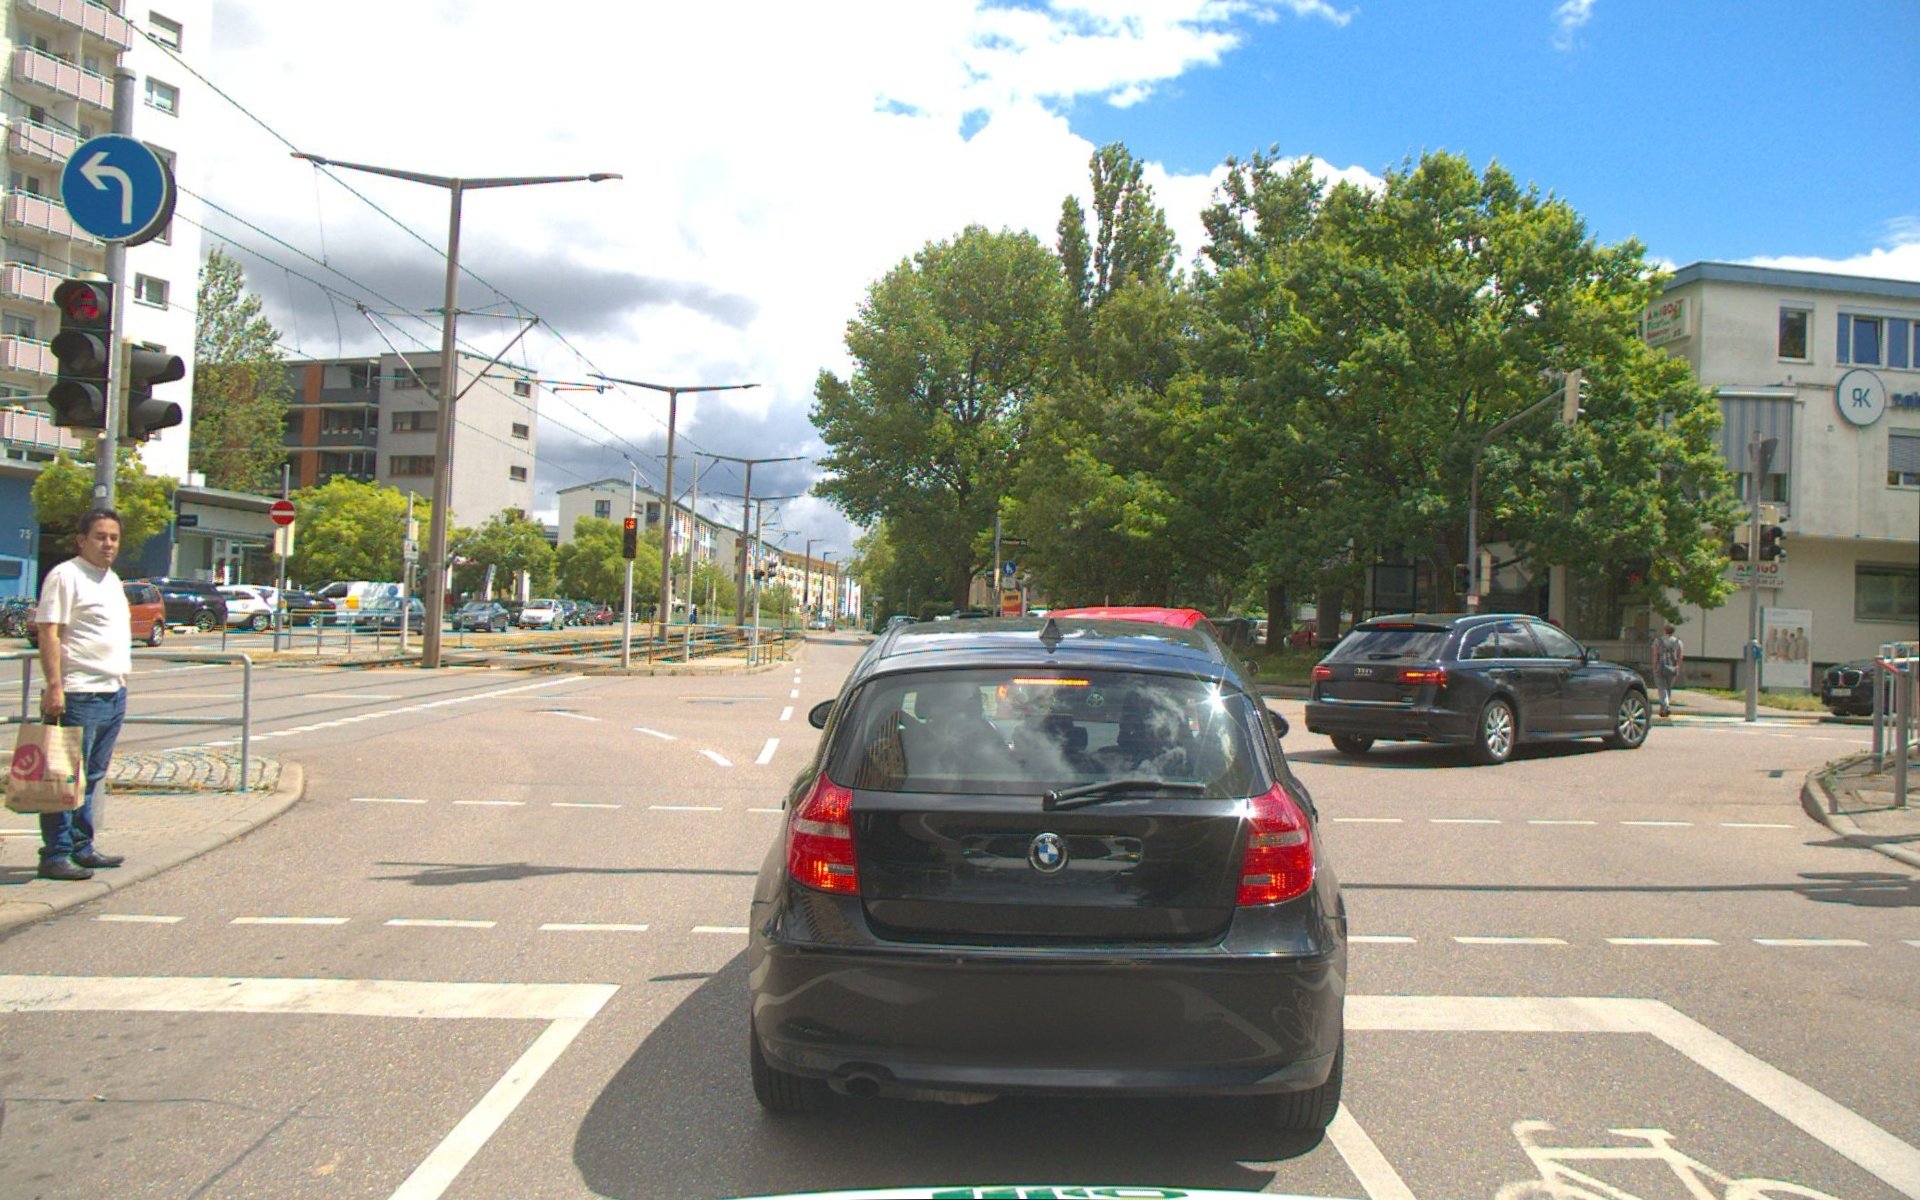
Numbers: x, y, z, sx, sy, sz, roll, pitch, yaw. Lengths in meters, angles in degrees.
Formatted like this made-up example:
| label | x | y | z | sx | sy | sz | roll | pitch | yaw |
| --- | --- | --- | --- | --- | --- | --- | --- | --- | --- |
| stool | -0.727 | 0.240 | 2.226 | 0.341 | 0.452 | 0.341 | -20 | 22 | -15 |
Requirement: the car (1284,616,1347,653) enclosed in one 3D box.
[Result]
| label | x | y | z | sx | sy | sz | roll | pitch | yaw |
| --- | --- | --- | --- | --- | --- | --- | --- | --- | --- |
| car | 17.065 | 1.634 | 79.599 | 1.698 | 1.623 | 3.993 | 1 | 0 | -8 |

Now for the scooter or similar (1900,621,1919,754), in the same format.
| label | x | y | z | sx | sy | sz | roll | pitch | yaw |
| --- | --- | --- | --- | --- | --- | --- | --- | --- | --- |
| scooter or similar | 9.205 | 0.817 | 14.934 | 1.338 | 1.176 | 0.539 | 3 | 0 | -26 |

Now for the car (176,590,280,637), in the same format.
| label | x | y | z | sx | sy | sz | roll | pitch | yaw |
| --- | --- | --- | --- | --- | --- | --- | --- | --- | --- |
| car | -26.562 | 0.462 | 59.989 | 4.144 | 1.597 | 1.949 | 1 | 0 | 43 |

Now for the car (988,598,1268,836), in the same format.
| label | x | y | z | sx | sy | sz | roll | pitch | yaw |
| --- | --- | --- | --- | --- | --- | --- | --- | --- | --- |
| car | 1.348 | 0.742 | 12.173 | 1.509 | 1.466 | 3.198 | 1 | 0 | 15 |

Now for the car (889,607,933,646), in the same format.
| label | x | y | z | sx | sy | sz | roll | pitch | yaw |
| --- | --- | --- | --- | --- | --- | --- | --- | --- | --- |
| car | -2.258 | 1.203 | 76.943 | 1.953 | 1.713 | 3.999 | 1 | 0 | -1 |

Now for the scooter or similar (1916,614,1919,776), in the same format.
| label | x | y | z | sx | sy | sz | roll | pitch | yaw |
| --- | --- | --- | --- | --- | --- | --- | --- | --- | --- |
| scooter or similar | 8.396 | 0.784 | 13.116 | 1.315 | 1.299 | 0.462 | 1 | 1 | 6 |

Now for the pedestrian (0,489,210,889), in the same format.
| label | x | y | z | sx | sy | sz | roll | pitch | yaw |
| --- | --- | --- | --- | --- | --- | --- | --- | --- | --- |
| pedestrian | -4.237 | 0.413 | 8.017 | 0.851 | 1.839 | 0.741 | 1 | 0 | -5 |

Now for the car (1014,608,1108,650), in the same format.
| label | x | y | z | sx | sy | sz | roll | pitch | yaw |
| --- | --- | --- | --- | --- | --- | --- | --- | --- | --- |
| car | 4.635 | 1.323 | 75.767 | 3.933 | 1.855 | 1.766 | 1 | 0 | -23 |

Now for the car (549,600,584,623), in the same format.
| label | x | y | z | sx | sy | sz | roll | pitch | yaw |
| --- | --- | --- | --- | --- | --- | --- | --- | --- | --- |
| car | -25.463 | 0.759 | 107.186 | 1.728 | 1.419 | 3.994 | 1 | 0 | -7 |

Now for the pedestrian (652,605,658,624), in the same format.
| label | x | y | z | sx | sy | sz | roll | pitch | yaw |
| --- | --- | --- | --- | --- | --- | --- | --- | --- | --- |
| pedestrian | -26.478 | 1.236 | 143.429 | 0.444 | 1.665 | 0.480 | 1 | 0 | -6 |

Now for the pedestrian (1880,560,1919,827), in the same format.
| label | x | y | z | sx | sy | sz | roll | pitch | yaw |
| --- | --- | --- | --- | --- | --- | --- | --- | --- | --- |
| pedestrian | 6.682 | 0.600 | 10.852 | 0.932 | 1.703 | 0.871 | 0 | 0 | 14 |

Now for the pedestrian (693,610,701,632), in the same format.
| label | x | y | z | sx | sy | sz | roll | pitch | yaw |
| --- | --- | --- | --- | --- | --- | --- | --- | --- | --- |
| pedestrian | -20.382 | 1.605 | 128.201 | 0.469 | 1.665 | 0.454 | 1 | 0 | -2 |

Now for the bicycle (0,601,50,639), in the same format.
| label | x | y | z | sx | sy | sz | roll | pitch | yaw |
| --- | --- | --- | --- | --- | --- | --- | --- | --- | --- |
| bicycle | -24.849 | 0.512 | 43.130 | 1.909 | 0.951 | 0.494 | 1 | -1 | -7 |

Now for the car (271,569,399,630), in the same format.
| label | x | y | z | sx | sy | sz | roll | pitch | yaw |
| --- | --- | --- | --- | --- | --- | --- | --- | --- | --- |
| car | -27.095 | -0.056 | 71.544 | 2.810 | 2.522 | 6.614 | 1 | 0 | -44 |

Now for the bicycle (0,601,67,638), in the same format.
| label | x | y | z | sx | sy | sz | roll | pitch | yaw |
| --- | --- | --- | --- | --- | --- | --- | --- | --- | --- |
| bicycle | -24.939 | 0.515 | 44.110 | 1.909 | 0.951 | 0.494 | 1 | -1 | -7 |

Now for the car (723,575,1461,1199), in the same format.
| label | x | y | z | sx | sy | sz | roll | pitch | yaw |
| --- | --- | --- | --- | --- | --- | --- | --- | --- | --- |
| car | 0.293 | 0.711 | 5.911 | 1.717 | 1.513 | 3.999 | 1 | 0 | -1 |

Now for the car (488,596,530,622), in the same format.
| label | x | y | z | sx | sy | sz | roll | pitch | yaw |
| --- | --- | --- | --- | --- | --- | --- | --- | --- | --- |
| car | -25.365 | 0.486 | 93.157 | 1.728 | 1.419 | 3.994 | 1 | 0 | -7 |

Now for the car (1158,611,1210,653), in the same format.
| label | x | y | z | sx | sy | sz | roll | pitch | yaw |
| --- | --- | --- | --- | --- | --- | --- | --- | --- | --- |
| car | 10.424 | 1.461 | 77.091 | 1.598 | 1.842 | 4.029 | 1 | 0 | -4 |

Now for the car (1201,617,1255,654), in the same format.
| label | x | y | z | sx | sy | sz | roll | pitch | yaw |
| --- | --- | --- | --- | --- | --- | --- | --- | --- | --- |
| car | 12.573 | 1.648 | 77.753 | 1.598 | 1.600 | 4.029 | 1 | 0 | -4 |

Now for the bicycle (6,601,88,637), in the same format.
| label | x | y | z | sx | sy | sz | roll | pitch | yaw |
| --- | --- | --- | --- | --- | --- | --- | --- | --- | --- |
| bicycle | -24.972 | 0.519 | 45.250 | 1.909 | 0.951 | 0.494 | 1 | -1 | -7 |

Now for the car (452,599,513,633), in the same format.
| label | x | y | z | sx | sy | sz | roll | pitch | yaw |
| --- | --- | --- | --- | --- | --- | --- | --- | --- | --- |
| car | -21.327 | 0.710 | 74.038 | 1.602 | 1.424 | 4.491 | 2 | -1 | -3 |

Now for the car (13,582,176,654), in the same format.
| label | x | y | z | sx | sy | sz | roll | pitch | yaw |
| --- | --- | --- | --- | --- | --- | --- | --- | --- | --- |
| car | -21.101 | 0.402 | 40.534 | 1.955 | 1.663 | 4.455 | 0 | 0 | -5 |

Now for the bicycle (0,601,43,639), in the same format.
| label | x | y | z | sx | sy | sz | roll | pitch | yaw |
| --- | --- | --- | --- | --- | --- | --- | --- | --- | --- |
| bicycle | -24.783 | 0.511 | 42.648 | 1.909 | 0.951 | 0.494 | 1 | -1 | -7 |

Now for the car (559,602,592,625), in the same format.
| label | x | y | z | sx | sy | sz | roll | pitch | yaw |
| --- | --- | --- | --- | --- | --- | --- | --- | --- | --- |
| car | -26.010 | 0.904 | 111.906 | 1.728 | 1.419 | 3.994 | 1 | 0 | -7 |

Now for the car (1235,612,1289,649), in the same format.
| label | x | y | z | sx | sy | sz | roll | pitch | yaw |
| --- | --- | --- | --- | --- | --- | --- | --- | --- | --- |
| car | 14.420 | 1.434 | 79.118 | 1.598 | 1.623 | 3.997 | 1 | 0 | -4 |

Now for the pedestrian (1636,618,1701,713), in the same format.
| label | x | y | z | sx | sy | sz | roll | pitch | yaw |
| --- | --- | --- | --- | --- | --- | --- | --- | --- | --- |
| pedestrian | 12.845 | 1.174 | 30.010 | 0.753 | 1.672 | 0.907 | 2 | 0 | -1 |

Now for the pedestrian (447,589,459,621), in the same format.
| label | x | y | z | sx | sy | sz | roll | pitch | yaw |
| --- | --- | --- | --- | --- | --- | --- | --- | --- | --- |
| pedestrian | -28.280 | 0.267 | 92.273 | 0.537 | 1.746 | 0.404 | 1 | 0 | -11 |

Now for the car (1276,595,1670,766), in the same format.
| label | x | y | z | sx | sy | sz | roll | pitch | yaw |
| --- | --- | --- | --- | --- | --- | --- | --- | --- | --- |
| car | 5.528 | 0.777 | 17.528 | 4.481 | 1.581 | 1.970 | 1 | -1 | -41 |

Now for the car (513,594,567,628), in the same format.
| label | x | y | z | sx | sy | sz | roll | pitch | yaw |
| --- | --- | --- | --- | --- | --- | --- | --- | --- | --- |
| car | -22.101 | 0.567 | 87.139 | 1.898 | 1.722 | 3.872 | 1 | 0 | -1 |

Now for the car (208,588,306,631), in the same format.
| label | x | y | z | sx | sy | sz | roll | pitch | yaw |
| --- | --- | --- | --- | --- | --- | --- | --- | --- | --- |
| car | -26.919 | 0.354 | 63.284 | 4.144 | 1.564 | 1.949 | 1 | 0 | 43 |

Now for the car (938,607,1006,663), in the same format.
| label | x | y | z | sx | sy | sz | roll | pitch | yaw |
| --- | --- | --- | --- | --- | --- | --- | --- | --- | --- |
| car | 0.367 | 1.145 | 54.198 | 2.108 | 1.713 | 3.999 | 1 | -1 | -1 |

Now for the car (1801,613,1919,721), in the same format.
| label | x | y | z | sx | sy | sz | roll | pitch | yaw |
| --- | --- | --- | --- | --- | --- | --- | --- | --- | --- |
| car | 17.149 | 1.149 | 28.428 | 4.472 | 1.747 | 1.997 | 1 | 0 | -8 |

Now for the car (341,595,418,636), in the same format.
| label | x | y | z | sx | sy | sz | roll | pitch | yaw |
| --- | --- | --- | --- | --- | --- | --- | --- | --- | --- |
| car | -21.820 | 0.562 | 62.317 | 1.597 | 1.438 | 4.252 | 1 | 1 | -3 |

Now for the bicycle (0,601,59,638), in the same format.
| label | x | y | z | sx | sy | sz | roll | pitch | yaw |
| --- | --- | --- | --- | --- | --- | --- | --- | --- | --- |
| bicycle | -24.895 | 0.513 | 43.635 | 1.909 | 0.951 | 0.494 | 1 | -1 | -7 |

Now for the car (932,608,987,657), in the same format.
| label | x | y | z | sx | sy | sz | roll | pitch | yaw |
| --- | --- | --- | --- | --- | --- | --- | --- | --- | --- |
| car | -0.029 | 1.200 | 61.640 | 1.953 | 1.713 | 3.999 | 1 | -1 | -1 |

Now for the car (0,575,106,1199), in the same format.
| label | x | y | z | sx | sy | sz | roll | pitch | yaw |
| --- | --- | --- | --- | --- | --- | --- | --- | --- | --- |
| car | -2.572 | 0.679 | 1.061 | 1.693 | 1.487 | 4.543 | 1 | 0 | -1 |

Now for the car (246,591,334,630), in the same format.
| label | x | y | z | sx | sy | sz | roll | pitch | yaw |
| --- | --- | --- | --- | --- | --- | --- | --- | --- | --- |
| car | -26.846 | 0.420 | 66.191 | 1.777 | 1.445 | 4.148 | 1 | 0 | -45 |
